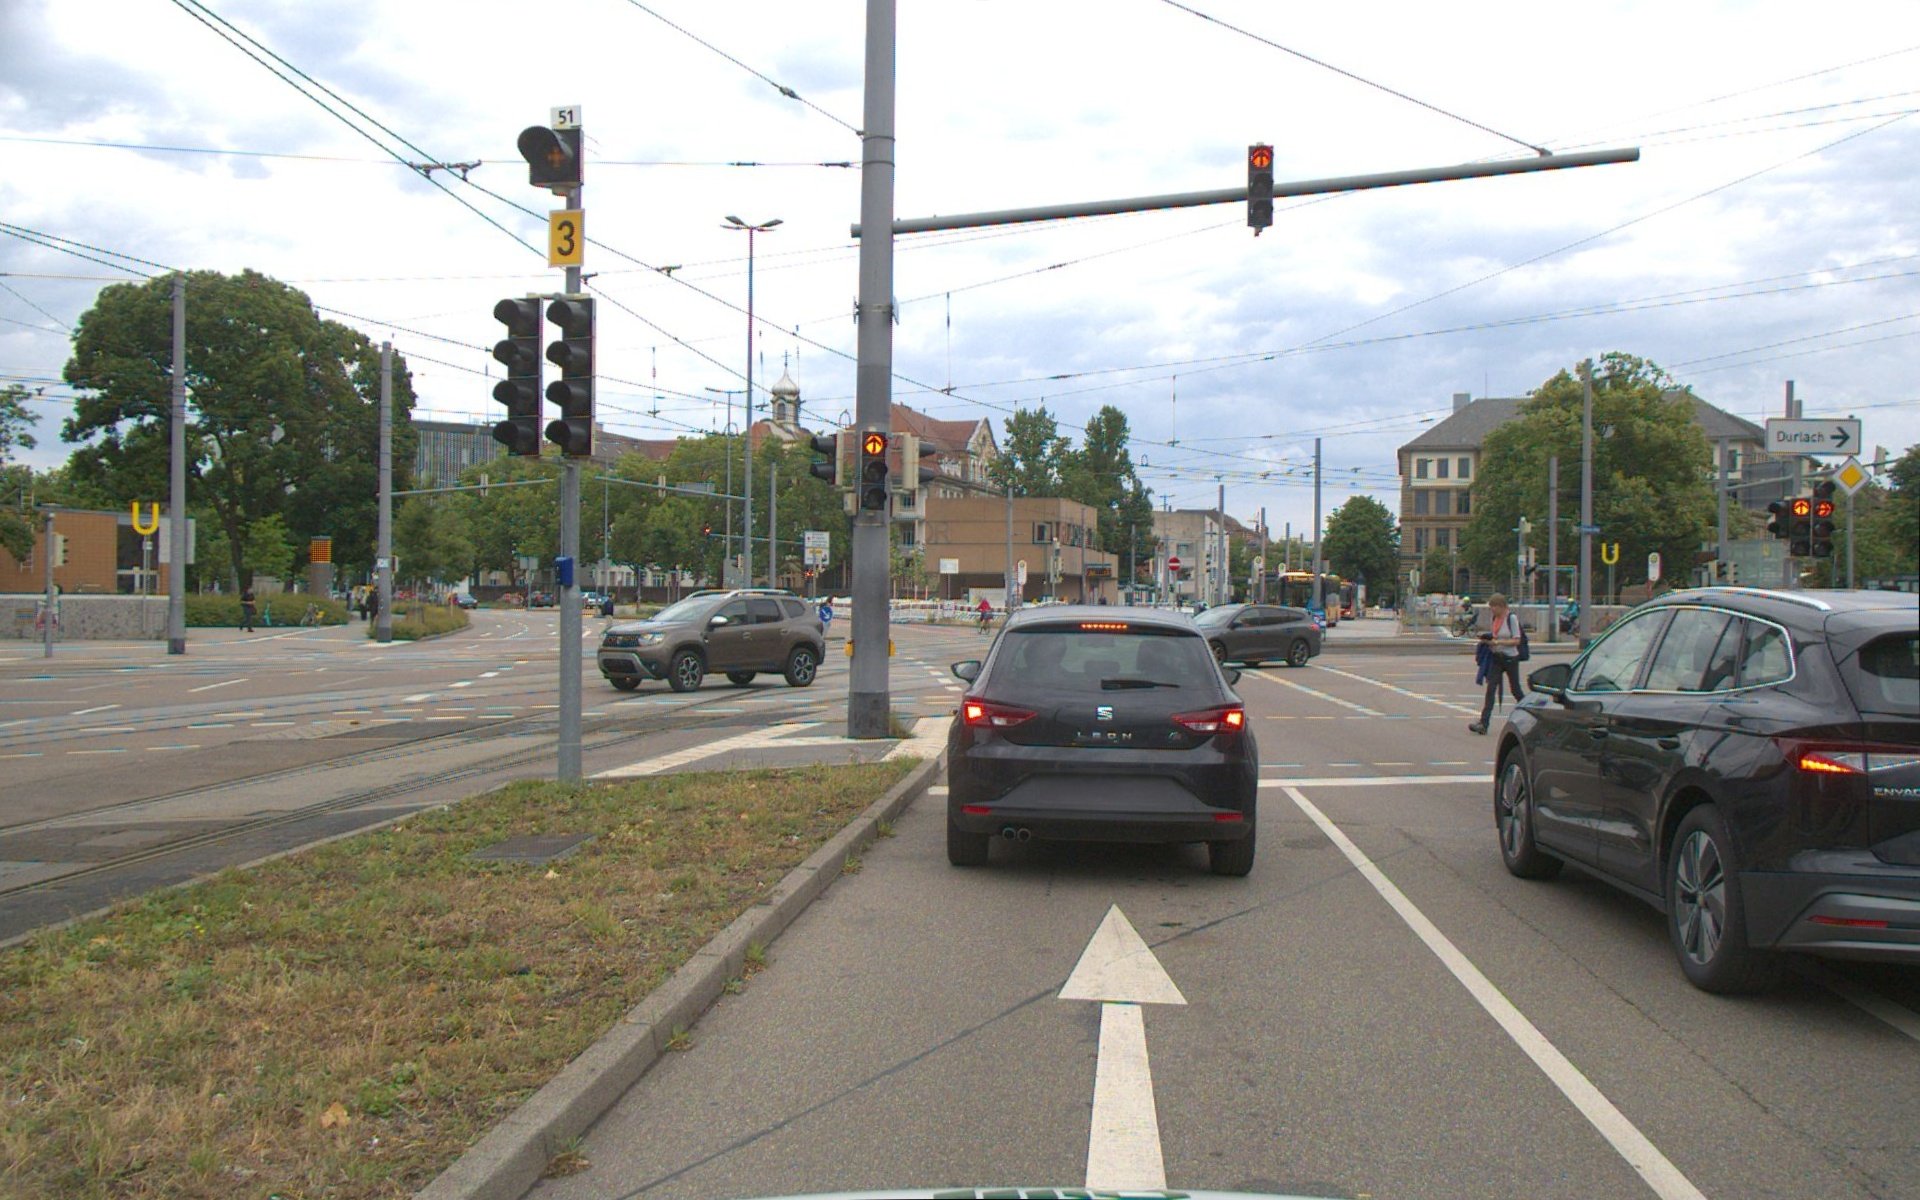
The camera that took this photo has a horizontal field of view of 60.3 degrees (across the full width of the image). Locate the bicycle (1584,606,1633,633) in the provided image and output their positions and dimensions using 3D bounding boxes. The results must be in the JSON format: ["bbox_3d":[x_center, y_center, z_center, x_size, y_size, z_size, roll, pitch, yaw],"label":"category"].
[{"bbox_3d":[33.057,0.983,84.343,2.213,1.354,0.707,0,-1,12],"label":"bicycle"}]

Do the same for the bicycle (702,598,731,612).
[{"bbox_3d":[-20.901,0.415,142.242,0.923,1.199,2.722,0,0,33],"label":"bicycle"}]

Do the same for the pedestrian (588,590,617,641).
[{"bbox_3d":[-13.955,0.595,64.555,1.012,1.968,0.697,0,0,-21],"label":"pedestrian"}]

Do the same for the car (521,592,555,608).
[{"bbox_3d":[-41.149,0.022,161.159,1.764,1.489,3.944,1,1,-39],"label":"car"}]

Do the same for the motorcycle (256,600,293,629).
[{"bbox_3d":[-31.345,0.667,75.655,1.460,1.290,0.504,1,0,-42],"label":"motorcycle"}]

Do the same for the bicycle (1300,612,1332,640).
[{"bbox_3d":[14.963,1.067,69.596,0.848,1.124,2.302,1,0,0],"label":"bicycle"}]

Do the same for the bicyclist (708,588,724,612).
[{"bbox_3d":[-20.955,-0.011,142.201,0.921,2.049,0.976,0,0,33],"label":"bicyclist"}]

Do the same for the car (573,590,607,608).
[{"bbox_3d":[-33.427,-0.088,149.356,1.760,1.489,3.954,1,1,-33],"label":"car"}]

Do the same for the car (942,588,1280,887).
[{"bbox_3d":[0.773,0.683,10.170,1.669,1.474,3.812,1,0,0],"label":"car"}]

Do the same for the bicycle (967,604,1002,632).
[{"bbox_3d":[1.061,0.792,73.015,0.877,1.199,2.291,1,0,-17],"label":"bicycle"}]

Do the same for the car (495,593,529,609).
[{"bbox_3d":[-45.209,0.127,166.935,1.766,1.489,3.941,1,1,-41],"label":"car"}]

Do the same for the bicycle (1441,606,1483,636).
[{"bbox_3d":[22.182,0.926,73.103,1.700,1.345,0.643,0,0,-14],"label":"bicycle"}]

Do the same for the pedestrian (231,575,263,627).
[{"bbox_3d":[-28.356,0.057,65.799,1.004,2.049,0.843,0,0,-15],"label":"pedestrian"}]

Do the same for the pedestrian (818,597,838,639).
[{"bbox_3d":[-4.982,0.682,62.473,0.713,1.569,0.417,1,0,-8],"label":"pedestrian"}]

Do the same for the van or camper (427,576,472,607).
[{"bbox_3d":[-53.532,-0.863,173.272,2.377,3.179,5.415,1,0,-44],"label":"van or camper"}]

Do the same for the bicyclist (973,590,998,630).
[{"bbox_3d":[1.117,0.426,72.834,0.869,1.762,0.890,1,0,-17],"label":"bicyclist"}]

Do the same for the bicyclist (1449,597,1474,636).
[{"bbox_3d":[22.181,0.720,73.111,0.839,1.702,0.652,0,0,-13],"label":"bicyclist"}]

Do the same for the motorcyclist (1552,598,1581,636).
[{"bbox_3d":[26.867,0.744,73.268,0.966,1.678,0.743,0,-1,-28],"label":"motorcyclist"}]

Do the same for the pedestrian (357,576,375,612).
[{"bbox_3d":[-33.600,-0.320,93.583,0.785,2.016,0.872,1,-2,-30],"label":"pedestrian"}]

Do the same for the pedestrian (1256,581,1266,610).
[{"bbox_3d":[19.818,-0.290,108.820,0.608,1.951,0.711,0,0,8],"label":"pedestrian"}]

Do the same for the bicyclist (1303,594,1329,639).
[{"bbox_3d":[14.948,0.682,69.432,0.853,1.884,1.047,0,0,-1],"label":"bicyclist"}]

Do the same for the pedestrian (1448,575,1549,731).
[{"bbox_3d":[6.905,0.671,21.200,1.093,1.940,0.725,2,-1,-38],"label":"pedestrian"}]

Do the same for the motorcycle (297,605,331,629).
[{"bbox_3d":[-30.259,0.785,77.505,0.499,1.131,1.745,0,0,17],"label":"motorcycle"}]

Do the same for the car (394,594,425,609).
[{"bbox_3d":[-59.706,0.142,179.363,1.766,1.489,3.941,1,1,-41],"label":"car"}]

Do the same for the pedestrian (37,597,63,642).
[{"bbox_3d":[-27.729,0.593,50.404,0.490,1.359,0.570,0,0,44],"label":"pedestrian"}]

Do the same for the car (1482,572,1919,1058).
[{"bbox_3d":[3.917,0.727,7.769,1.740,1.625,4.511,1,0,4],"label":"car"}]

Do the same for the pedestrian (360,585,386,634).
[{"bbox_3d":[-24.752,0.412,69.759,0.913,2.049,1.007,1,-1,-16],"label":"pedestrian"}]

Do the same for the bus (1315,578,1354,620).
[{"bbox_3d":[31.545,-0.067,139.083,2.597,3.340,11.002,0,0,16],"label":"bus"}]

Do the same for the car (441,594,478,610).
[{"bbox_3d":[-45.962,0.178,151.938,1.766,1.489,3.939,1,0,-42],"label":"car"}]

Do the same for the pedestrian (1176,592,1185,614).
[{"bbox_3d":[19.873,0.299,149.254,0.609,1.952,0.709,-1,-2,30],"label":"pedestrian"}]

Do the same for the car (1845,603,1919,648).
[{"bbox_3d":[32.799,0.902,57.377,3.939,1.490,1.760,1,-1,-27],"label":"car"}]

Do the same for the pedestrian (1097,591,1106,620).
[{"bbox_3d":[9.596,0.376,112.041,0.608,1.951,0.711,0,0,8],"label":"pedestrian"}]

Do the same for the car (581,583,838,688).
[{"bbox_3d":[-4.235,0.577,28.461,1.772,1.668,4.203,0,0,42],"label":"car"}]

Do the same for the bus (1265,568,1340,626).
[{"bbox_3d":[20.142,-0.145,96.604,2.899,3.178,11.542,0,0,19],"label":"bus"}]

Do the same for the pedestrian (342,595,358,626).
[{"bbox_3d":[-40.657,0.720,110.255,0.863,2.016,0.793,1,-2,-14],"label":"pedestrian"}]

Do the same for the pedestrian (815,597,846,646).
[{"bbox_3d":[-5.215,0.848,66.671,0.689,1.968,1.024,0,0,43],"label":"pedestrian"}]

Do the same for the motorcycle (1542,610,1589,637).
[{"bbox_3d":[26.821,1.046,73.235,2.110,1.159,0.737,0,0,-29],"label":"motorcycle"}]

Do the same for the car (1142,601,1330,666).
[{"bbox_3d":[6.452,0.756,38.466,4.336,1.420,1.680,0,0,-32],"label":"car"}]

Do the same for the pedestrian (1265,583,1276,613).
[{"bbox_3d":[20.211,-0.141,107.634,0.608,1.951,0.699,0,0,14],"label":"pedestrian"}]

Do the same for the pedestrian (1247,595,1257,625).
[{"bbox_3d":[18.956,0.649,107.301,0.608,1.951,0.699,0,0,14],"label":"pedestrian"}]
